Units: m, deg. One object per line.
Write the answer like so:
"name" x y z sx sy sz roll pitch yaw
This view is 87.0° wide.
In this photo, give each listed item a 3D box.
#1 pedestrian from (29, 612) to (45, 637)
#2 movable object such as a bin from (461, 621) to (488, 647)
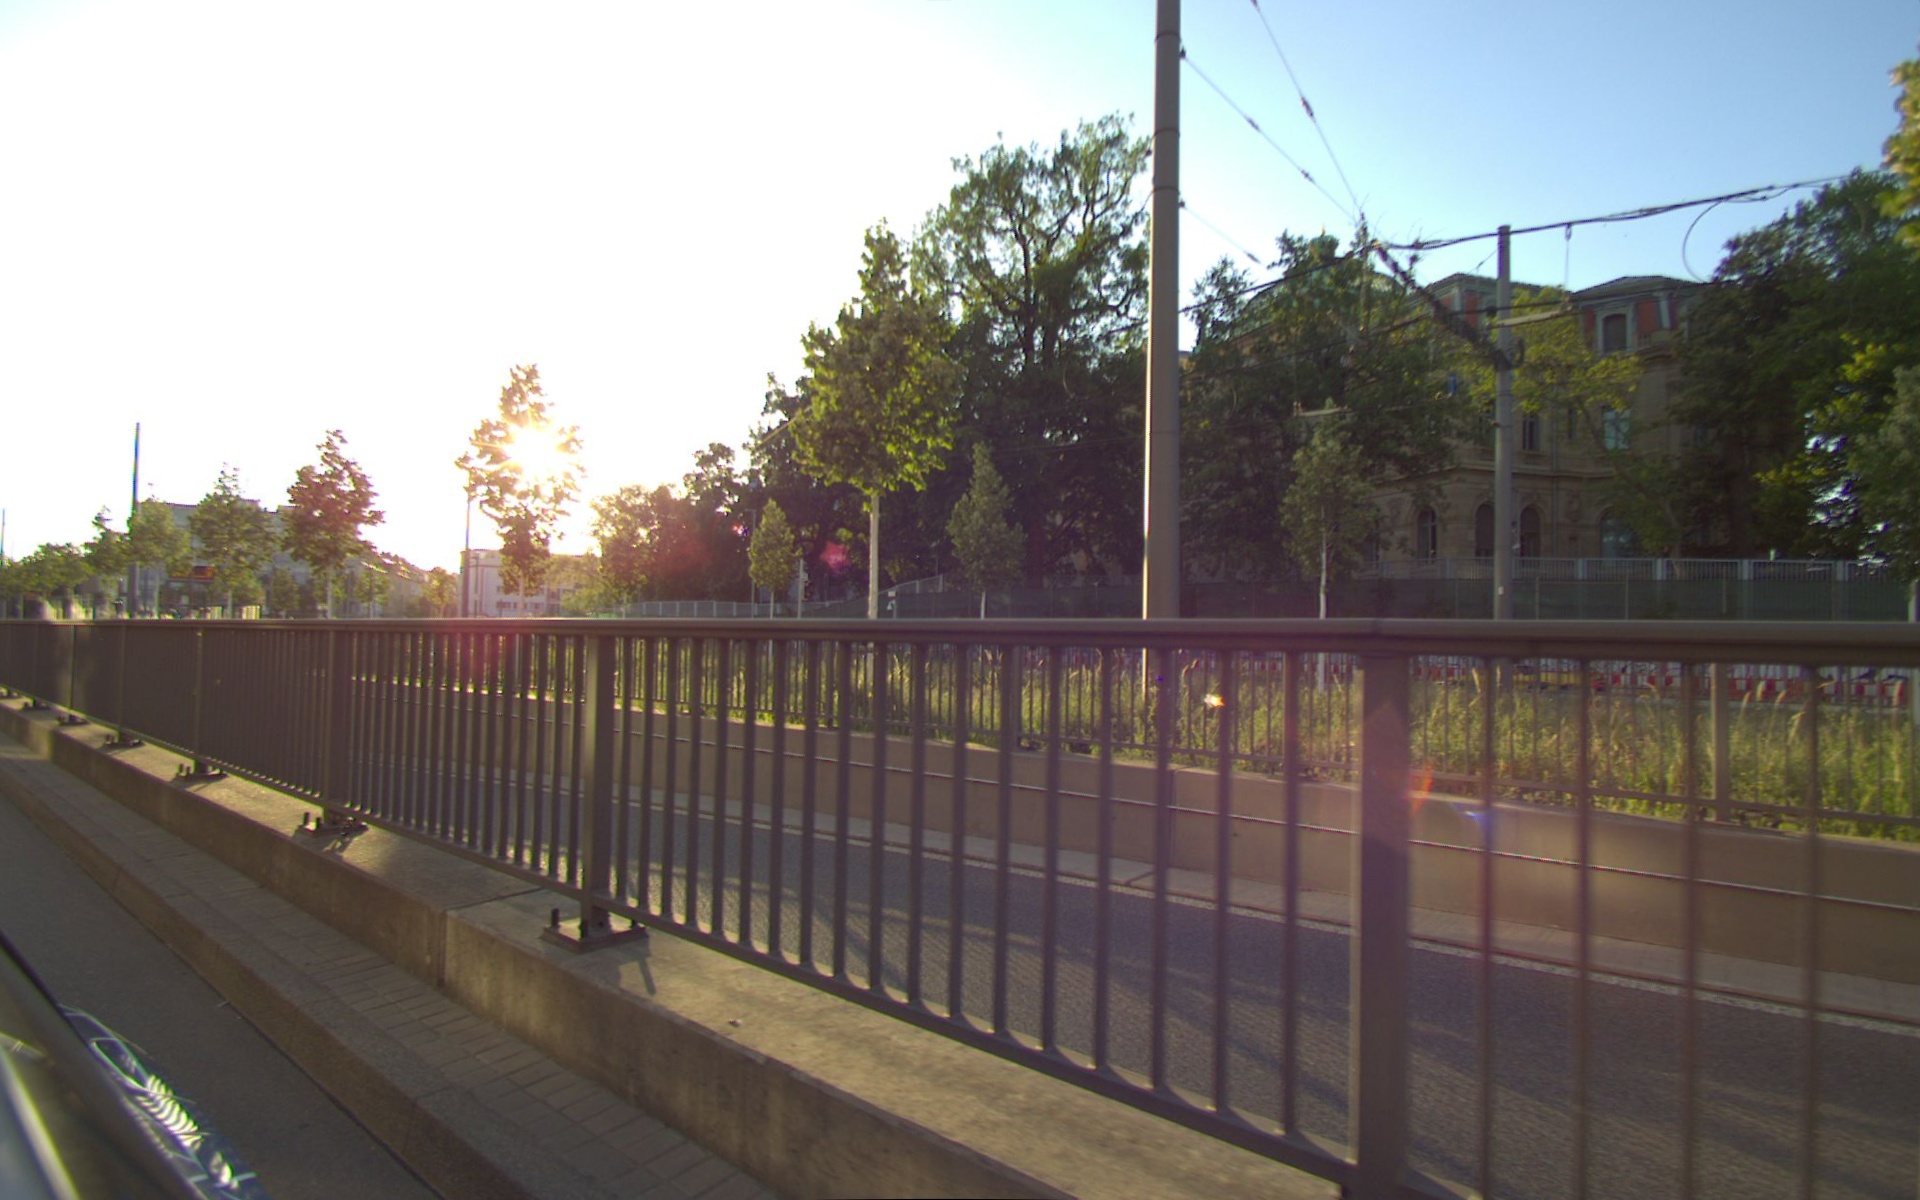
"pedestrian" -65.681 1.753 72.009 0.633 1.742 0.630 -1 -3 29
"movable object such as a bin" -52.199 3.652 108.782 1.967 2.727 4.009 2 -2 -36
